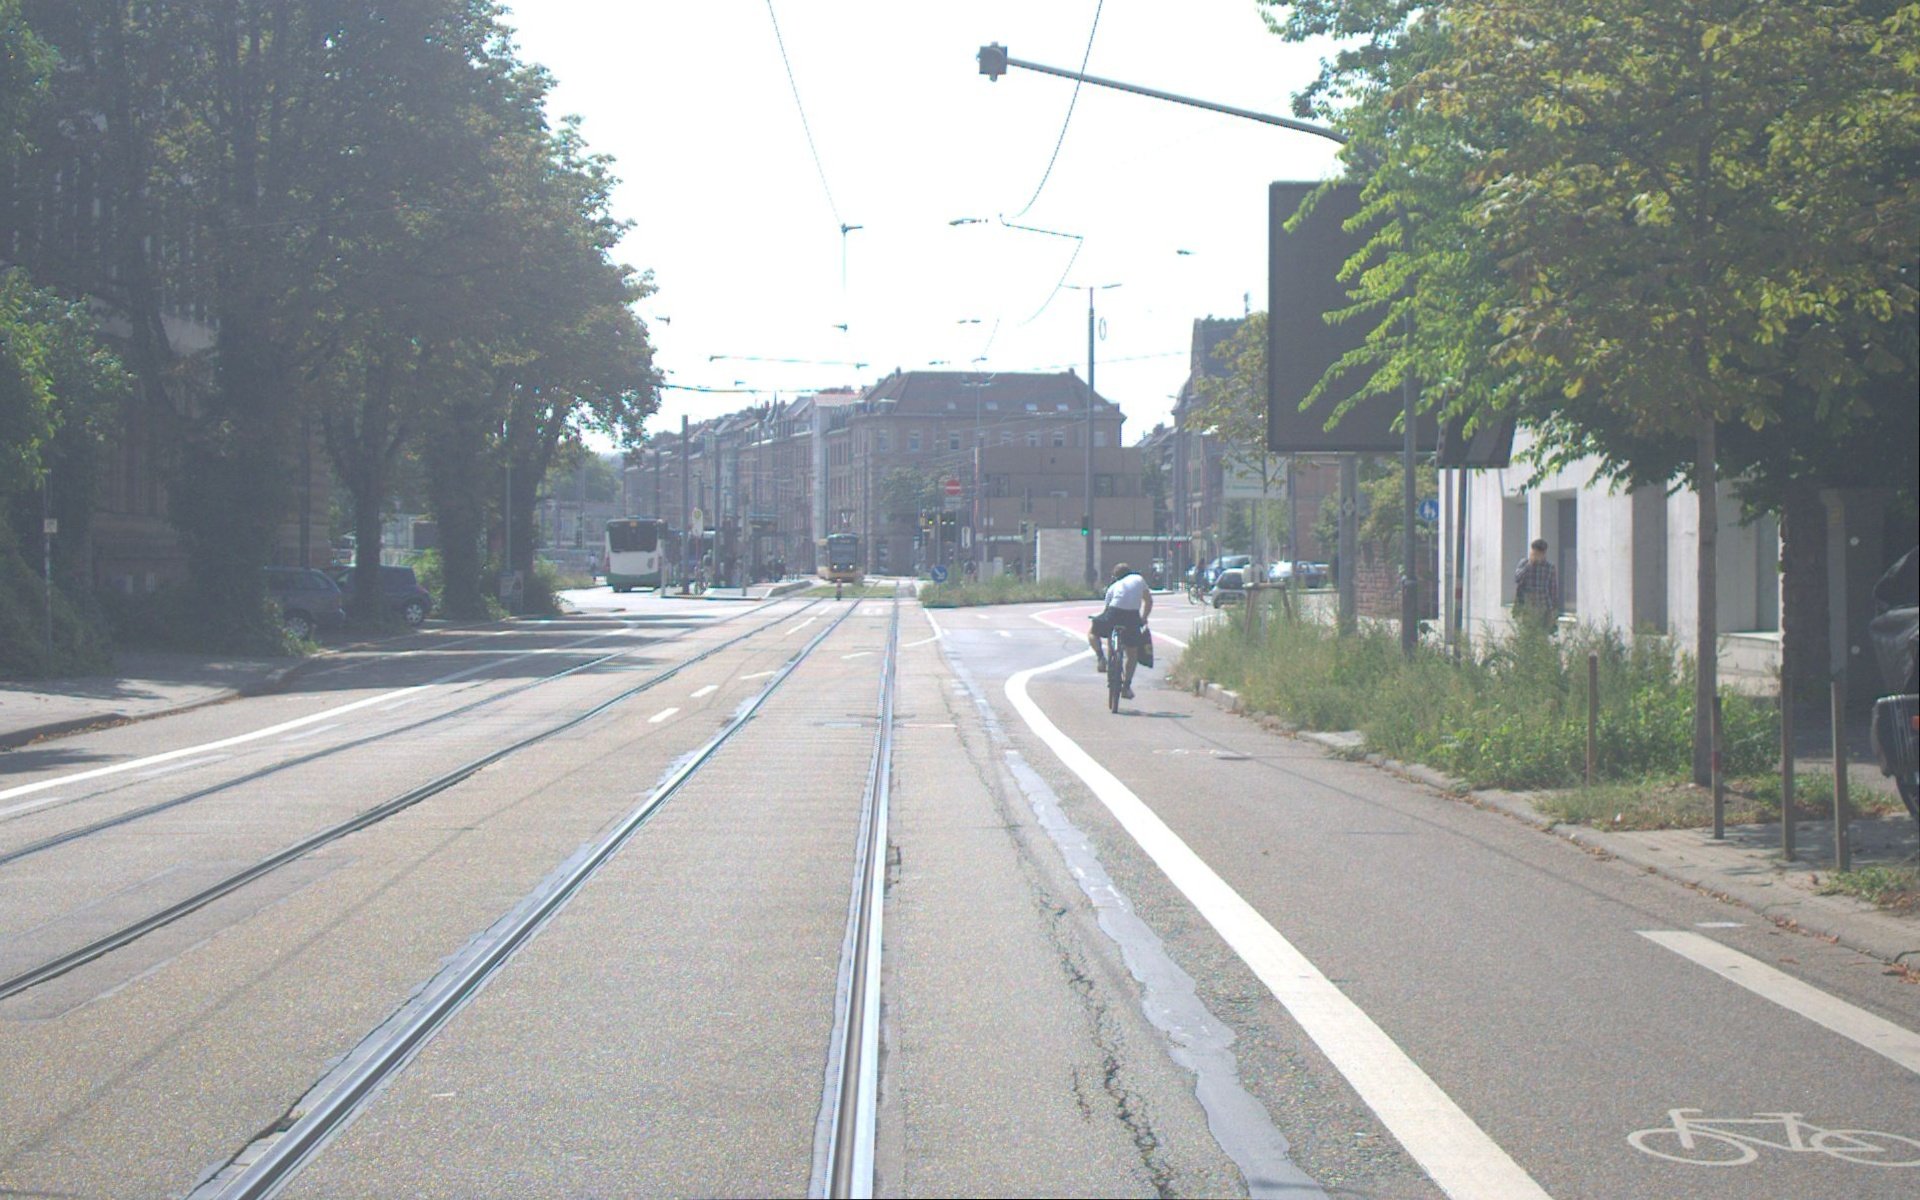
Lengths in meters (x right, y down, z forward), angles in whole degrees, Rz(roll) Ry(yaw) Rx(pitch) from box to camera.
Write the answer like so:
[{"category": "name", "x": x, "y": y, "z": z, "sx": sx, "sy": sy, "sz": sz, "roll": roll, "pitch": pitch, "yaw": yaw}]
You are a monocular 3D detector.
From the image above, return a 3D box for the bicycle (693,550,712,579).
[{"category": "bicycle", "x": -10.762, "y": -1.478, "z": 143.737, "sx": 0.607, "sy": 1.218, "sz": 1.705, "roll": 0, "pitch": 1, "yaw": 3}]

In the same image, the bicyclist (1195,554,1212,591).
[{"category": "bicyclist", "x": 9.202, "y": -1.043, "z": 129.902, "sx": 0.450, "sy": 1.416, "sz": 0.495, "roll": 0, "pitch": 1, "yaw": 28}]

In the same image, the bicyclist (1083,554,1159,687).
[{"category": "bicyclist", "x": 1.732, "y": 0.214, "z": 37.103, "sx": 0.745, "sy": 1.407, "sz": 0.962, "roll": 1, "pitch": 1, "yaw": 0}]

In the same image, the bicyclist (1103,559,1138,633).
[{"category": "bicyclist", "x": 2.901, "y": -0.080, "z": 62.010, "sx": 0.603, "sy": 1.330, "sz": 0.659, "roll": 0, "pitch": 1, "yaw": 5}]

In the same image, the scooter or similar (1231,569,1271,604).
[{"category": "scooter or similar", "x": 8.025, "y": -0.381, "z": 94.791, "sx": 0.773, "sy": 0.923, "sz": 1.619, "roll": 1, "pitch": 1, "yaw": 16}]

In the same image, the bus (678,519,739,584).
[{"category": "bus", "x": -14.763, "y": -2.840, "z": 202.256, "sx": 2.709, "sy": 3.714, "sz": 10.419, "roll": 1, "pitch": 1, "yaw": 0}]

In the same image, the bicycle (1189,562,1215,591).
[{"category": "bicycle", "x": 9.127, "y": -0.891, "z": 129.773, "sx": 0.445, "sy": 1.113, "sz": 1.444, "roll": 0, "pitch": 1, "yaw": 27}]

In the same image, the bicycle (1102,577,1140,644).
[{"category": "bicycle", "x": 2.909, "y": 0.182, "z": 61.982, "sx": 0.604, "sy": 1.159, "sz": 1.810, "roll": 0, "pitch": 1, "yaw": 5}]

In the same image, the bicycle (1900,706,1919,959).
[{"category": "bicycle", "x": 4.606, "y": 0.894, "z": 12.975, "sx": 1.923, "sy": 0.949, "sz": 0.721, "roll": 0, "pitch": 1, "yaw": 2}]

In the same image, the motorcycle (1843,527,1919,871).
[{"category": "motorcycle", "x": 4.876, "y": 0.427, "z": 16.575, "sx": 0.886, "sy": 1.547, "sz": 2.411, "roll": 0, "pitch": 1, "yaw": 7}]

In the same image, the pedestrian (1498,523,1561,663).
[{"category": "pedestrian", "x": 7.079, "y": -0.090, "z": 42.744, "sx": 0.692, "sy": 1.726, "sz": 0.579, "roll": 0, "pitch": 1, "yaw": 1}]

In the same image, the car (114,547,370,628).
[{"category": "car", "x": -13.624, "y": -0.236, "z": 65.307, "sx": 4.414, "sy": 1.457, "sz": 1.821, "roll": 1, "pitch": 1, "yaw": -27}]

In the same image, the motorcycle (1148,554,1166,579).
[{"category": "motorcycle", "x": 9.617, "y": -1.614, "z": 167.493, "sx": 0.604, "sy": 1.206, "sz": 2.252, "roll": 0, "pitch": 1, "yaw": 10}]

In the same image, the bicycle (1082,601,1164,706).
[{"category": "bicycle", "x": 1.745, "y": 0.558, "z": 37.056, "sx": 0.739, "sy": 1.045, "sz": 2.233, "roll": 1, "pitch": 1, "yaw": -1}]

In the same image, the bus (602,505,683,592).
[{"category": "bus", "x": -14.429, "y": -2.347, "z": 157.029, "sx": 2.957, "sy": 3.762, "sz": 10.597, "roll": 1, "pitch": 1, "yaw": -2}]

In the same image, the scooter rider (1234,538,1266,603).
[{"category": "scooter rider", "x": 8.034, "y": -0.821, "z": 95.179, "sx": 0.762, "sy": 1.769, "sz": 0.555, "roll": 1, "pitch": 1, "yaw": 16}]

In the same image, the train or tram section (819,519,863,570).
[{"category": "train or tram section", "x": -8.590, "y": -4.015, "z": 249.752, "sx": 2.856, "sy": 3.536, "sz": 17.744, "roll": 1, "pitch": 1, "yaw": -1}]

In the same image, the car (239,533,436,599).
[{"category": "car", "x": -14.545, "y": -0.807, "z": 80.440, "sx": 4.151, "sy": 1.491, "sz": 1.821, "roll": 0, "pitch": 1, "yaw": -38}]
